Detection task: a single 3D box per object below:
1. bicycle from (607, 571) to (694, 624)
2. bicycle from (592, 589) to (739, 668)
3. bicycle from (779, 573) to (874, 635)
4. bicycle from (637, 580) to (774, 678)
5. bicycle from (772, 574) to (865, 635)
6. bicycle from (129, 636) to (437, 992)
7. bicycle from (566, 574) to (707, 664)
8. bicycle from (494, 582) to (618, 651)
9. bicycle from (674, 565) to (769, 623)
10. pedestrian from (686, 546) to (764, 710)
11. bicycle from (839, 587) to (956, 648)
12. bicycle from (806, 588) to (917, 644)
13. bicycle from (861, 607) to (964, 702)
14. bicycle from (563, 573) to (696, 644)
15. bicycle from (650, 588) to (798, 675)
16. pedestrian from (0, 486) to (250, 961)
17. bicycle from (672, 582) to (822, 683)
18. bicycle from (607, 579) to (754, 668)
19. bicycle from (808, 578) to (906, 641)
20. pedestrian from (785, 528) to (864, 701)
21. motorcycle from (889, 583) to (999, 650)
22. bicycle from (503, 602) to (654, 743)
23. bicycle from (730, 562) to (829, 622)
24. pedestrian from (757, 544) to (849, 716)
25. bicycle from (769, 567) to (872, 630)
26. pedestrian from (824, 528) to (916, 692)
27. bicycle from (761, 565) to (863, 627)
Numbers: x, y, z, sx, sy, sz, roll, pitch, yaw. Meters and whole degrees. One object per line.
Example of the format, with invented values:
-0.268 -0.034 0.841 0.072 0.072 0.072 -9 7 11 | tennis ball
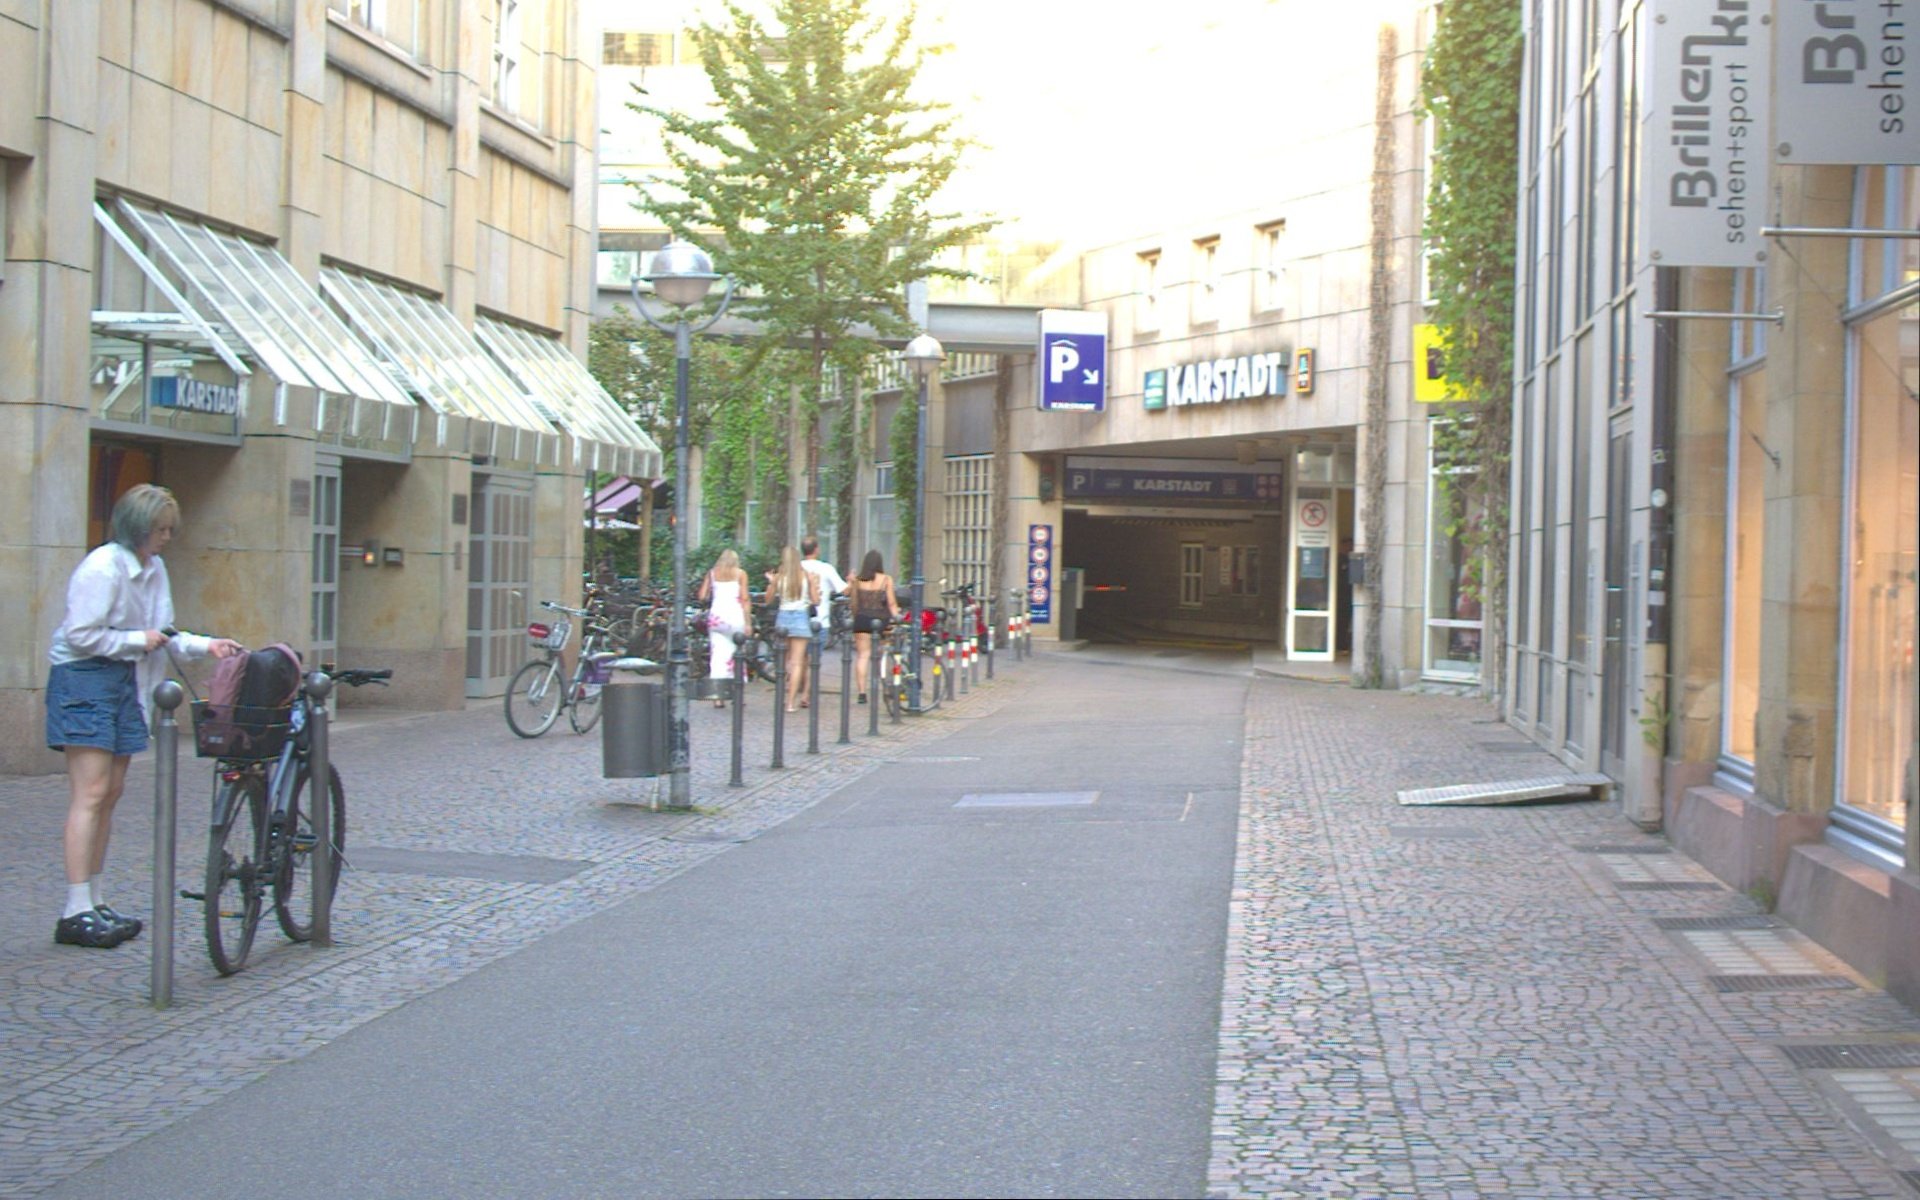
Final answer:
-6.603 -0.059 73.371 1.773 1.110 0.543 0 1 -13 | bicycle
-3.955 0.376 46.237 1.893 1.048 0.534 0 1 -17 | bicycle
-2.295 0.076 59.048 1.539 1.045 0.575 0 1 -15 | bicycle
-3.246 0.364 43.793 1.653 1.226 0.534 0 1 -17 | bicycle
-2.494 0.077 60.466 1.539 1.045 0.575 0 1 -15 | bicycle
-2.478 0.745 12.789 0.533 1.150 1.914 3 1 6 | bicycle
-4.419 0.256 46.952 1.833 1.221 0.534 0 1 -17 | bicycle
-6.188 0.249 52.665 1.824 1.039 0.534 0 1 -17 | bicycle
-4.684 -0.121 67.412 1.773 1.110 0.543 0 1 -15 | bicycle
-2.419 0.278 35.424 0.675 1.659 0.860 1 1 3 | pedestrian
-1.021 0.285 56.123 1.847 0.979 0.464 0 1 -15 | bicycle
-1.626 0.262 56.907 1.773 0.901 0.464 0 1 -15 | bicycle
-0.482 0.560 35.808 0.493 0.935 1.657 3 1 20 | bicycle
-4.882 0.128 50.788 1.876 1.039 0.534 0 1 -17 | bicycle
-3.063 0.405 44.672 1.836 1.118 0.534 0 1 -17 | bicycle
-3.177 0.449 12.978 0.768 1.712 0.591 3 1 4 | pedestrian
-2.630 0.399 42.457 1.766 1.226 0.534 0 1 -17 | bicycle
-3.716 0.307 45.684 1.872 1.173 0.534 0 1 -17 | bicycle
-1.741 0.165 58.021 1.539 1.045 0.575 0 1 -15 | bicycle
-1.443 0.149 36.807 0.742 1.816 0.878 1 1 3 | pedestrian
-0.255 0.262 54.379 1.662 1.047 0.464 0 1 -15 | motorcycle
-3.226 0.593 29.204 0.522 1.134 1.763 1 1 21 | bicycle
-3.415 -0.144 65.039 1.773 1.110 0.543 0 1 -15 | bicycle
-1.608 0.297 35.299 0.806 1.723 0.948 1 1 3 | pedestrian
-2.503 -0.019 61.644 1.773 1.110 0.543 0 1 -15 | bicycle
-0.997 0.101 38.382 0.785 1.789 0.971 1 1 14 | pedestrian
-2.707 -0.075 62.729 1.773 1.110 0.543 0 1 -15 | bicycle
